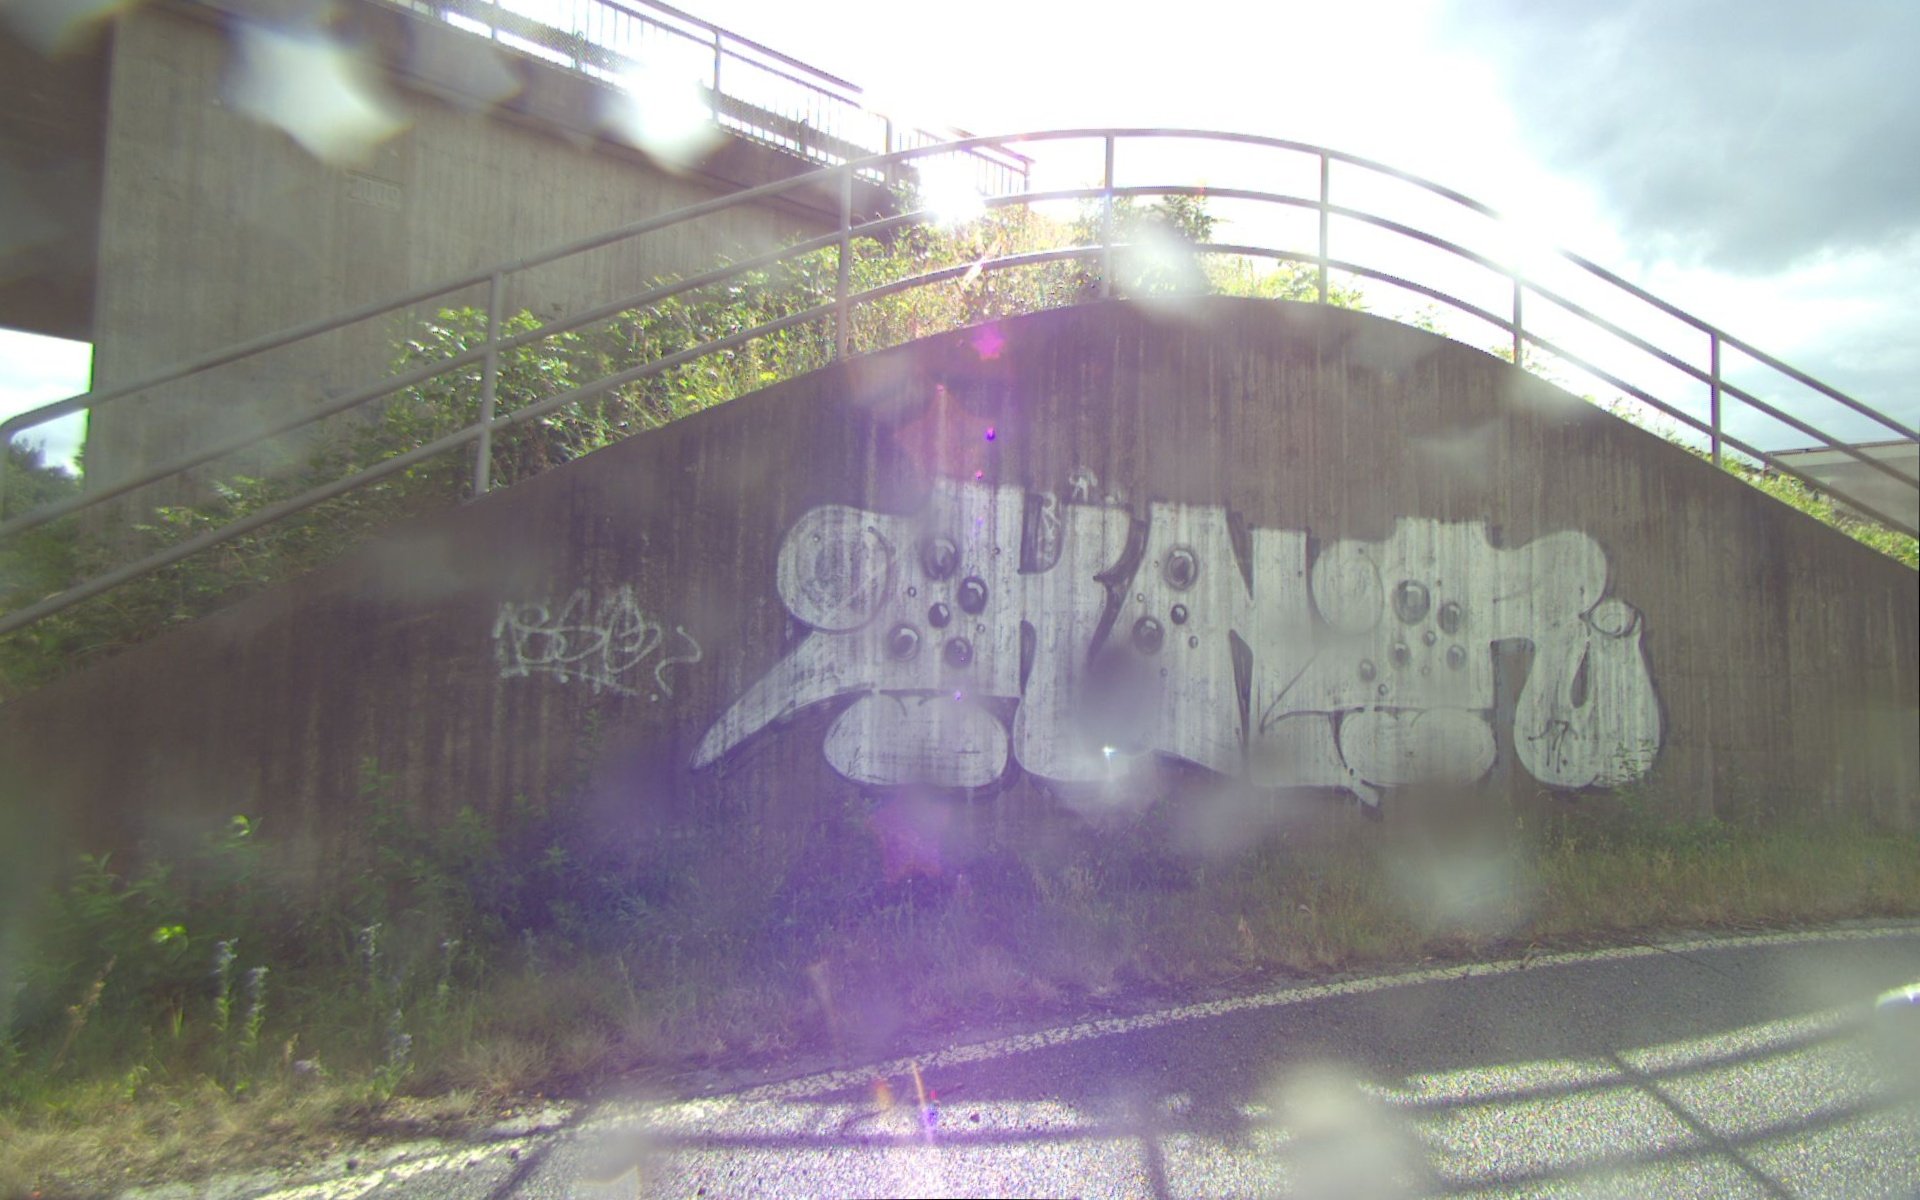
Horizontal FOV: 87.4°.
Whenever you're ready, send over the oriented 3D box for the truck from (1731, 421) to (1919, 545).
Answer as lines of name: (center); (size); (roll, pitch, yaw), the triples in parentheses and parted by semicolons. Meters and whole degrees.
truck: (35.757, -4.574, 41.115); (9.139, 3.661, 3.433); (3, -4, -30)
